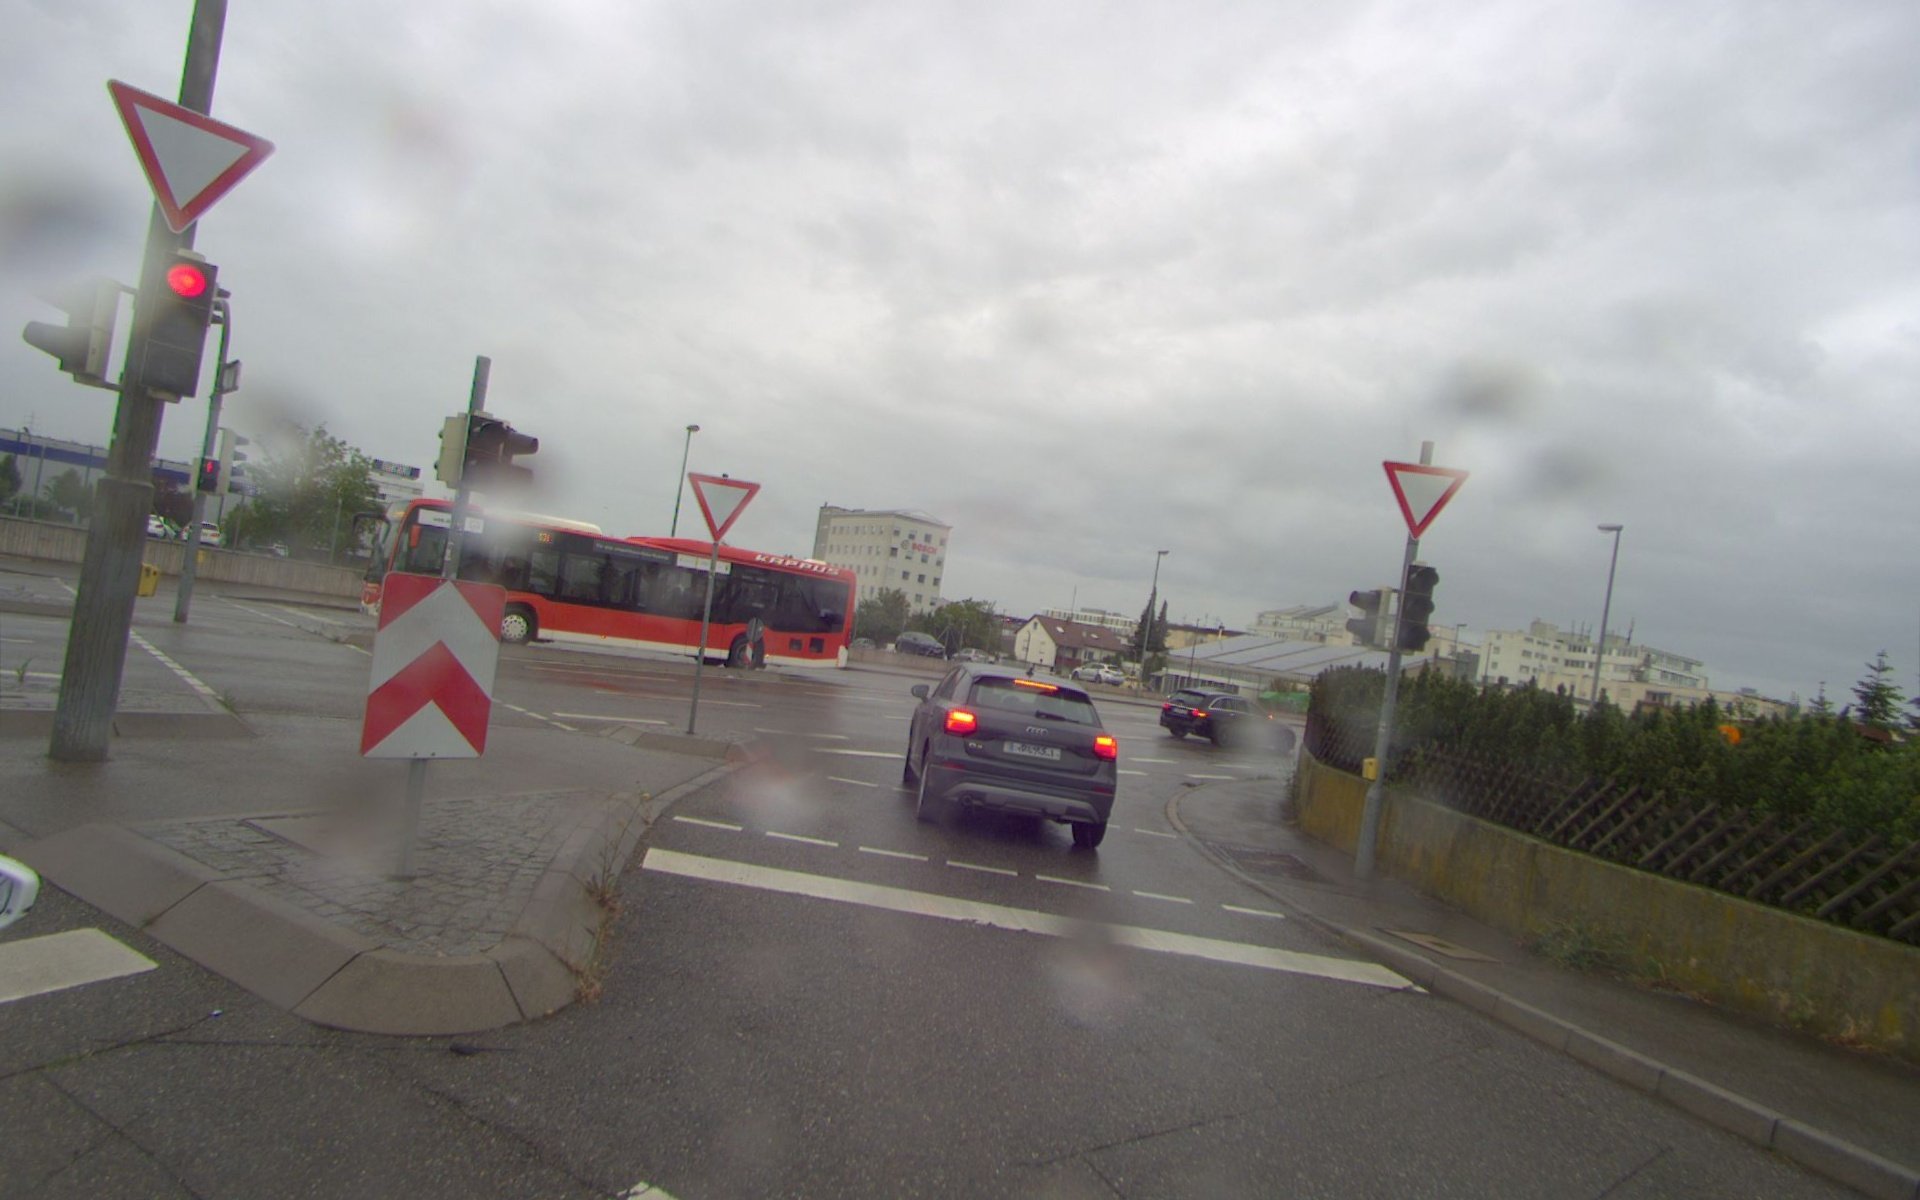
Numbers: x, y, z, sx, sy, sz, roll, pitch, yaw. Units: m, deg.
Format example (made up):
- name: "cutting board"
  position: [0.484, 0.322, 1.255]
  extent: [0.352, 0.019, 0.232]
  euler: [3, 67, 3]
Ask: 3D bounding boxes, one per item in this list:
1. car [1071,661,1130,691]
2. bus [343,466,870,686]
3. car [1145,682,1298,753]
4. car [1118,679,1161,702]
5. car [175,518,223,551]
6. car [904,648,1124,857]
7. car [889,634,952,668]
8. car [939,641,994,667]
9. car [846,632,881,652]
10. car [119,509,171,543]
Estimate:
- name: "car"
  position: [9.736, 5.274, 70.047]
  extent: [1.979, 1.494, 3.971]
  euler: [9, -2, -29]
- name: "bus"
  position: [-8.322, -0.263, 25.842]
  extent: [12.245, 3.357, 3.040]
  euler: [12, -3, -41]
- name: "car"
  position: [7.554, 3.395, 28.780]
  extent: [4.649, 1.493, 1.976]
  euler: [11, -3, -43]
- name: "car"
  position: [17.869, 8.998, 100.065]
  extent: [3.760, 1.771, 1.887]
  euler: [9, -2, -29]
- name: "car"
  position: [-43.897, -3.786, 58.022]
  extent: [1.986, 1.495, 3.958]
  euler: [10, -2, -38]
- name: "car"
  position: [0.354, 1.410, 10.483]
  extent: [1.659, 1.510, 3.943]
  euler: [9, -4, -3]
- name: "car"
  position: [-2.473, 3.110, 61.950]
  extent: [1.983, 1.494, 3.964]
  euler: [10, -2, -34]
- name: "car"
  position: [0.543, 4.398, 82.219]
  extent: [3.951, 1.494, 1.989]
  euler: [9, -2, -24]
- name: "car"
  position: [-9.653, 4.199, 100.443]
  extent: [1.979, 1.494, 3.971]
  euler: [9, -2, -29]
- name: "car"
  position: [-45.617, -4.112, 56.354]
  extent: [1.985, 1.494, 3.959]
  euler: [10, -2, -38]
